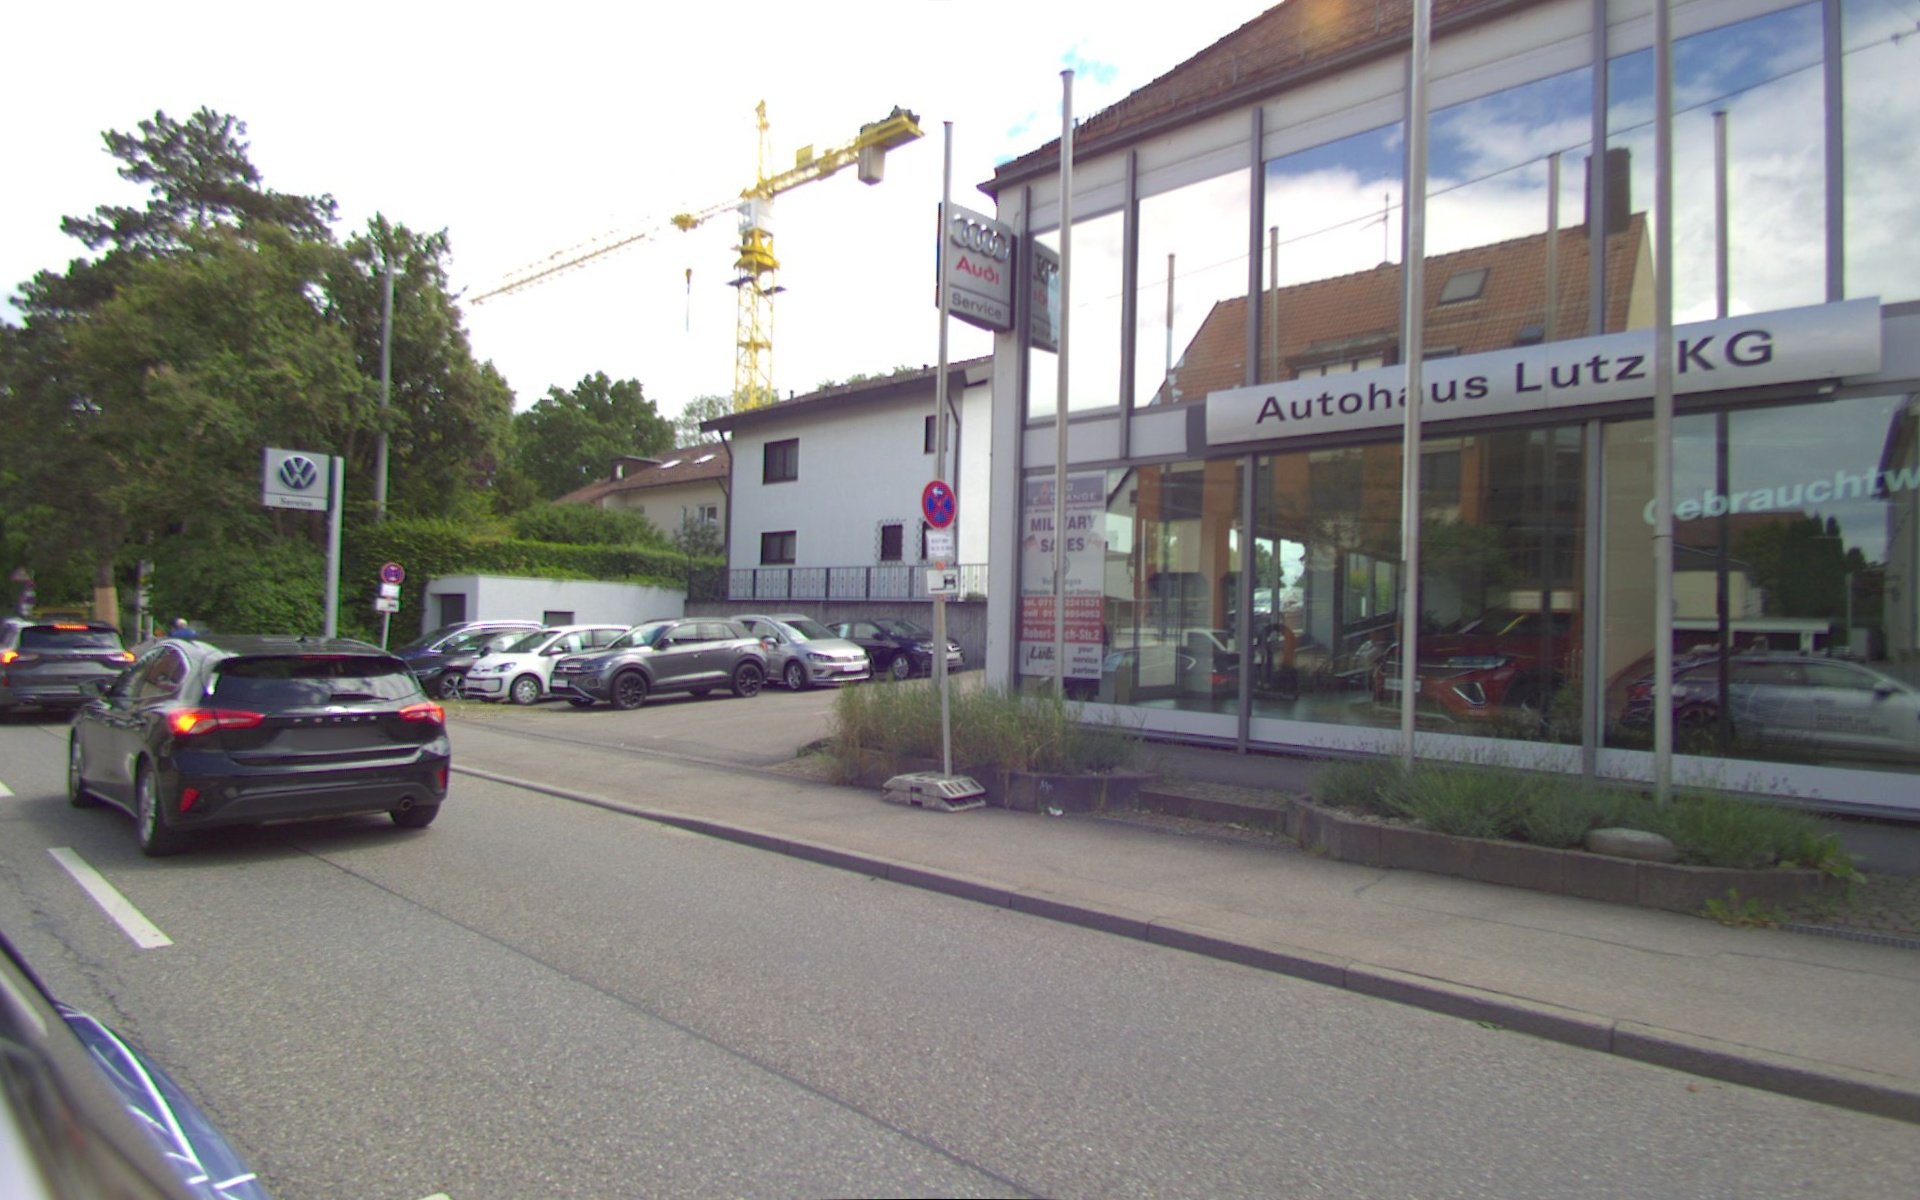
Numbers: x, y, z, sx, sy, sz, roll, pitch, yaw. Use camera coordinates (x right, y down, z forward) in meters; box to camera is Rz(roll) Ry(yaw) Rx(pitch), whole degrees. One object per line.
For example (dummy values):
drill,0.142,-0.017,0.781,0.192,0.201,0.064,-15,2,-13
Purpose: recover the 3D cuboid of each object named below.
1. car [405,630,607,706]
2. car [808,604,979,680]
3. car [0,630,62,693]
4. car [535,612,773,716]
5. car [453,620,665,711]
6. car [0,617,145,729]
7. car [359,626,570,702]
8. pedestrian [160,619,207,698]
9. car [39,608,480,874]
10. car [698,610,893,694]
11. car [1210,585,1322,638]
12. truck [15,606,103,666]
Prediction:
car,-10.004,1.471,22.486,1.727,1.530,3.702,-2,-3,39
car,-1.600,0.969,23.573,3.801,1.597,1.788,-3,-1,41
car,-23.909,1.485,25.250,4.523,1.440,1.721,-1,-4,42
car,-5.541,1.087,18.713,1.652,1.643,3.973,-2,-1,39
car,-8.019,1.248,20.481,1.533,1.572,3.702,-2,-1,39
car,-15.255,1.156,16.879,4.318,1.642,1.812,-2,-3,41
car,-11.955,1.480,24.626,1.903,1.653,4.244,-2,-2,42
pedestrian,-17.800,1.325,23.192,0.868,1.750,0.675,0,-1,41
car,-5.622,0.864,7.923,4.168,1.535,1.812,0,-3,41
car,-3.631,1.101,21.891,4.325,1.597,1.788,-3,-1,41
car,9.458,0.328,31.120,1.857,1.454,3.751,-3,-1,42
truck,-39.527,1.494,44.332,6.093,2.438,2.281,0,-1,43
